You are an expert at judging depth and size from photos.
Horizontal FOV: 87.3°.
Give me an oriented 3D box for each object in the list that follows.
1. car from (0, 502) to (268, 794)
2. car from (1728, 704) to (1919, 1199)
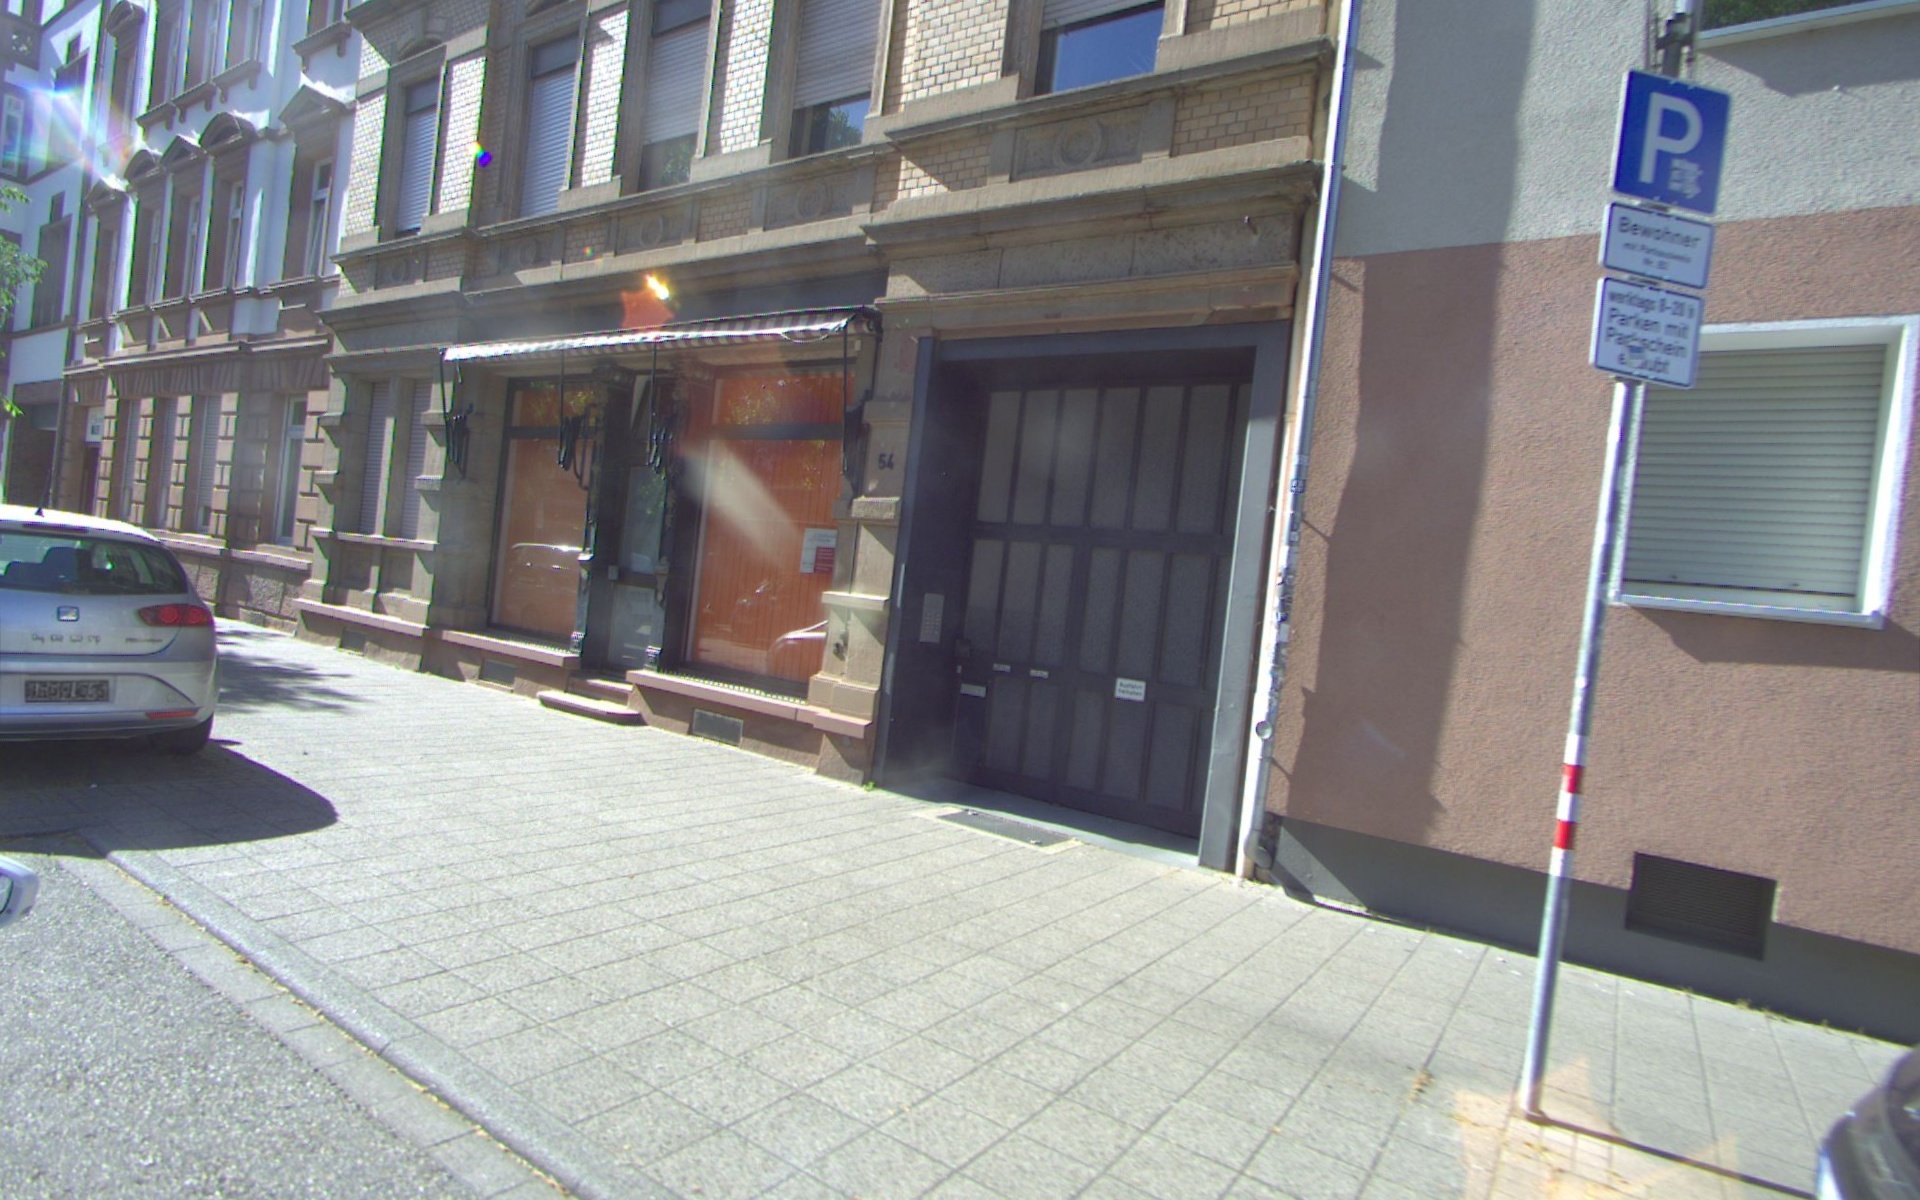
[{"bbox_3d":[-6.346,0.101,6.457,3.936,1.469,1.739,7,0,34],"label":"car"},{"bbox_3d":[3.195,1.125,1.004,3.652,1.498,1.710,6,0,35],"label":"car"}]
